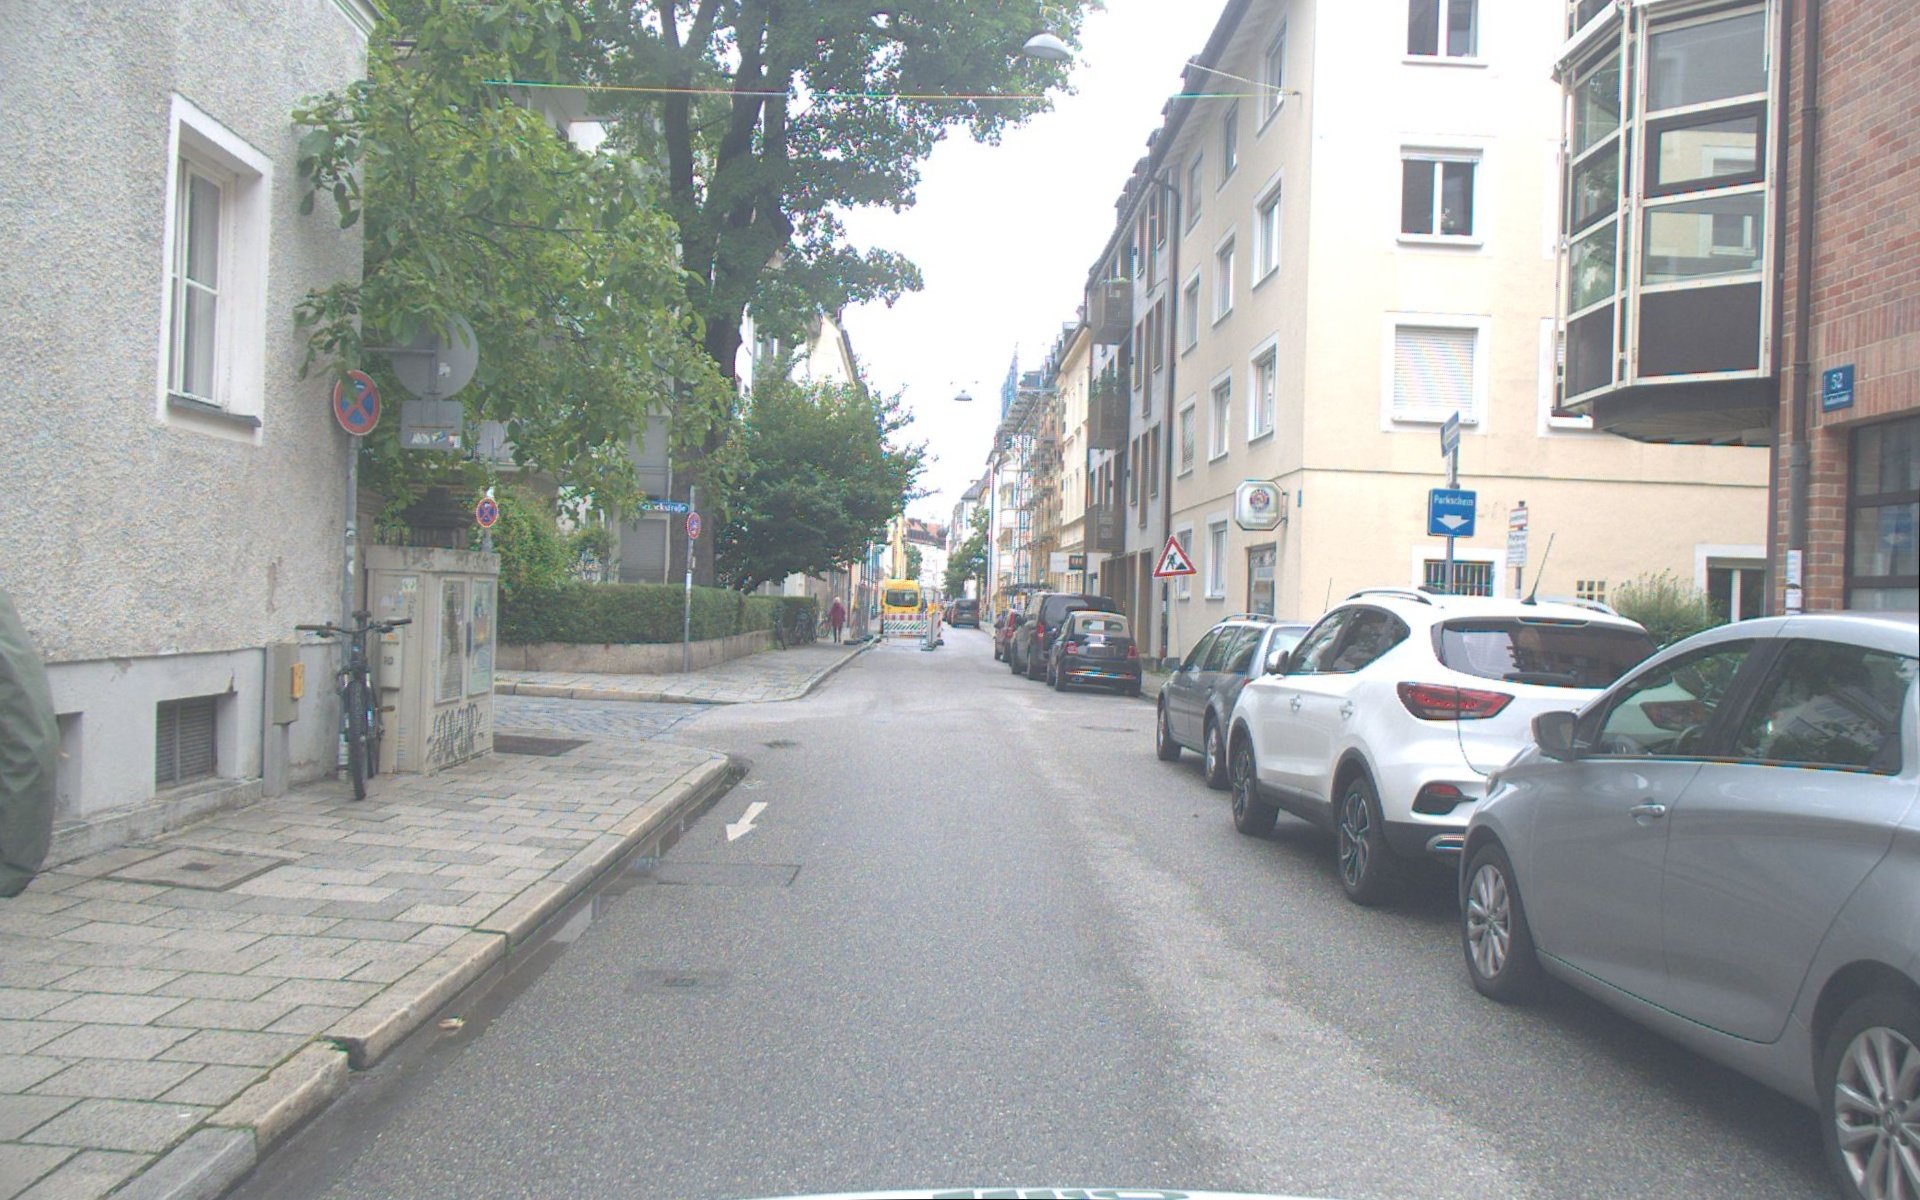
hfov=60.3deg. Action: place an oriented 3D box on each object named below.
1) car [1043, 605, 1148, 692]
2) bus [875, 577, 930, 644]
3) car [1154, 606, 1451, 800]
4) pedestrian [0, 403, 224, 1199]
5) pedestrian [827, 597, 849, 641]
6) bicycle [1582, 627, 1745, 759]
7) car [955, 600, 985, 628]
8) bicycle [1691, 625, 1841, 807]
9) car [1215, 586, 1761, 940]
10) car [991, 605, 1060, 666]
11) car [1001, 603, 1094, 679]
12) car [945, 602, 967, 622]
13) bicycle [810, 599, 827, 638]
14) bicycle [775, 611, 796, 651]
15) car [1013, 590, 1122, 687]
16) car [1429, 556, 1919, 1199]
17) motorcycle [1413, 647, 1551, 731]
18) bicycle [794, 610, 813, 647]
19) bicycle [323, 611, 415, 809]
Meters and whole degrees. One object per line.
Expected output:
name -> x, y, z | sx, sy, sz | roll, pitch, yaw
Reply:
car -> 2.570, 0.891, 32.041 | 1.592, 1.513, 3.807 | 3, 0, -1
bus -> -2.789, 0.554, 82.016 | 2.540, 3.156, 6.304 | 1, -1, -1
car -> 2.976, 0.834, 15.218 | 1.709, 1.470, 3.998 | 2, 0, -3
pedestrian -> -2.053, 0.488, 3.210 | 0.738, 1.688, 0.906 | 4, -1, -1
pedestrian -> -4.342, 0.680, 58.899 | 0.741, 1.517, 0.831 | 1, -1, -1
bicycle -> 6.866, 0.888, 16.214 | 0.374, 1.179, 1.537 | 3, 0, -29
car -> 0.668, 0.938, 114.109 | 1.766, 1.741, 3.824 | 5, 0, -3
bicycle -> 6.159, 0.847, 12.710 | 0.370, 1.299, 1.552 | 1, -1, -1
car -> 2.855, 0.785, 9.987 | 1.714, 1.658, 4.193 | 1, 0, -4
car -> 1.874, 0.994, 48.266 | 1.603, 1.541, 3.827 | 5, 0, -2
car -> 2.092, 0.965, 40.484 | 1.766, 1.595, 3.998 | 5, 0, -2
car -> -0.336, 1.042, 142.418 | 1.765, 1.642, 3.999 | 2, 0, -1
bicycle -> -5.367, 0.711, 62.769 | 0.504, 1.442, 1.933 | 1, -1, -2
bicycle -> -4.677, 0.817, 44.443 | 0.406, 1.038, 1.853 | 1, -1, -2
car -> 2.310, 0.803, 36.395 | 1.766, 1.851, 3.997 | 5, 0, -3
car -> 3.034, 0.756, 5.323 | 1.687, 1.664, 3.877 | 1, -1, -4
motorcycle -> 7.837, 1.315, 24.902 | 0.618, 1.127, 1.897 | 3, 0, -43
bicycle -> -4.727, 0.852, 49.979 | 0.437, 1.092, 2.466 | 1, -1, -3
bicycle -> -3.760, 0.659, 10.586 | 0.465, 1.130, 1.751 | 2, 0, -18
